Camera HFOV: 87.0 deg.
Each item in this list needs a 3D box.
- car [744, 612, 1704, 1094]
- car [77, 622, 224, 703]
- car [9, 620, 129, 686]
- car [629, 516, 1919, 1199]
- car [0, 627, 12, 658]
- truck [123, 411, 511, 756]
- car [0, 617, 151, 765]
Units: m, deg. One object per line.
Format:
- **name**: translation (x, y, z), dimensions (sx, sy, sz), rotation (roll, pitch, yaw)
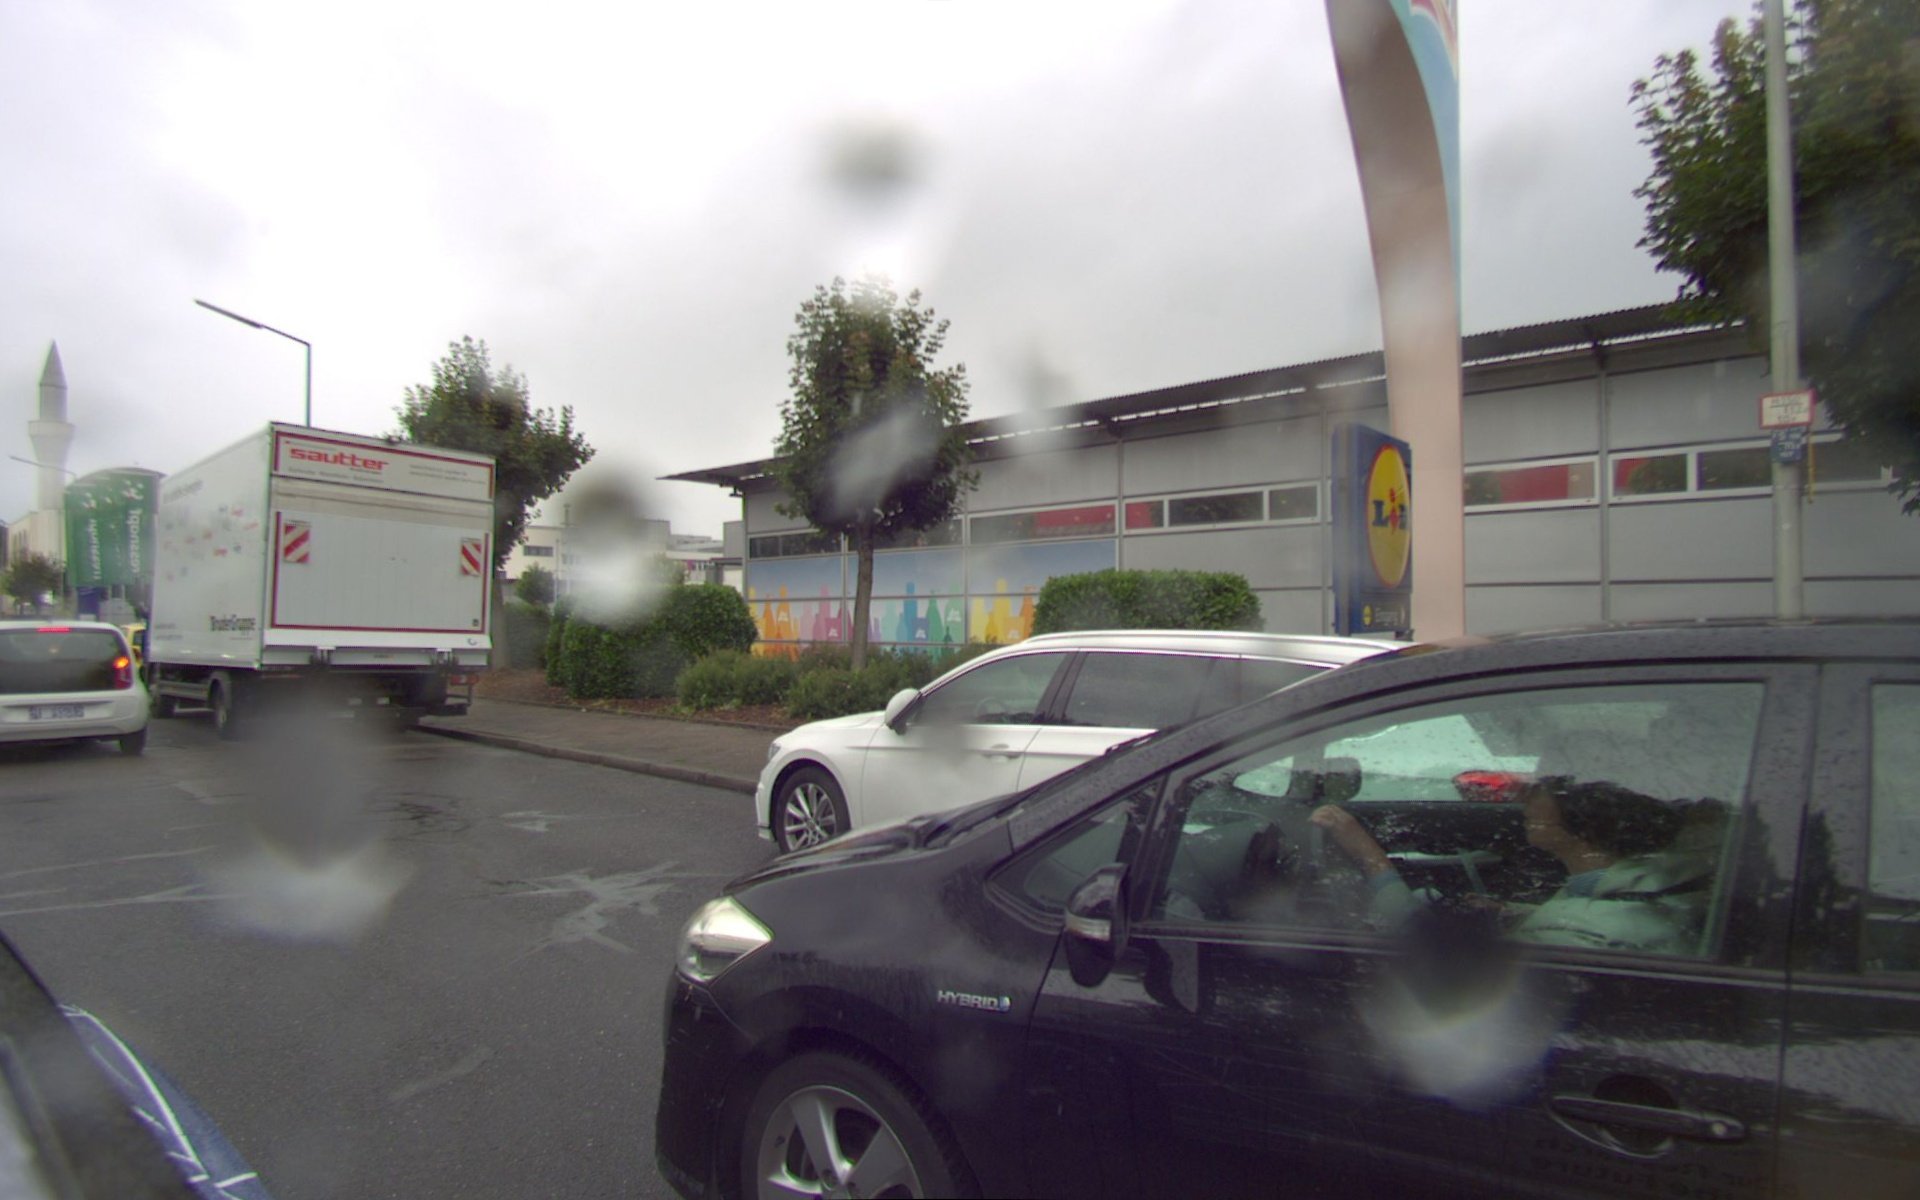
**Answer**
- **car**: translation (0.976, 0.830, 5.254), dimensions (4.490, 1.445, 1.816), rotation (-1, -3, 42)
- **car**: translation (-16.386, 1.199, 20.444), dimensions (3.510, 1.477, 1.670), rotation (-1, -2, 40)
- **car**: translation (-21.651, 1.238, 24.559), dimensions (3.510, 1.477, 1.670), rotation (-1, -2, 40)
- **car**: translation (1.411, 0.658, 1.905), dimensions (3.986, 1.452, 1.717), rotation (-1, -2, 32)
- **car**: translation (-43.824, 1.881, 45.321), dimensions (3.608, 1.351, 1.559), rotation (-1, -2, 40)
- **truck**: translation (-9.698, -0.100, 14.794), dimensions (7.866, 3.775, 2.850), rotation (-1, -2, 43)
- **car**: translation (-10.540, 0.934, 11.328), dimensions (3.404, 1.449, 1.595), rotation (-1, -3, 39)
